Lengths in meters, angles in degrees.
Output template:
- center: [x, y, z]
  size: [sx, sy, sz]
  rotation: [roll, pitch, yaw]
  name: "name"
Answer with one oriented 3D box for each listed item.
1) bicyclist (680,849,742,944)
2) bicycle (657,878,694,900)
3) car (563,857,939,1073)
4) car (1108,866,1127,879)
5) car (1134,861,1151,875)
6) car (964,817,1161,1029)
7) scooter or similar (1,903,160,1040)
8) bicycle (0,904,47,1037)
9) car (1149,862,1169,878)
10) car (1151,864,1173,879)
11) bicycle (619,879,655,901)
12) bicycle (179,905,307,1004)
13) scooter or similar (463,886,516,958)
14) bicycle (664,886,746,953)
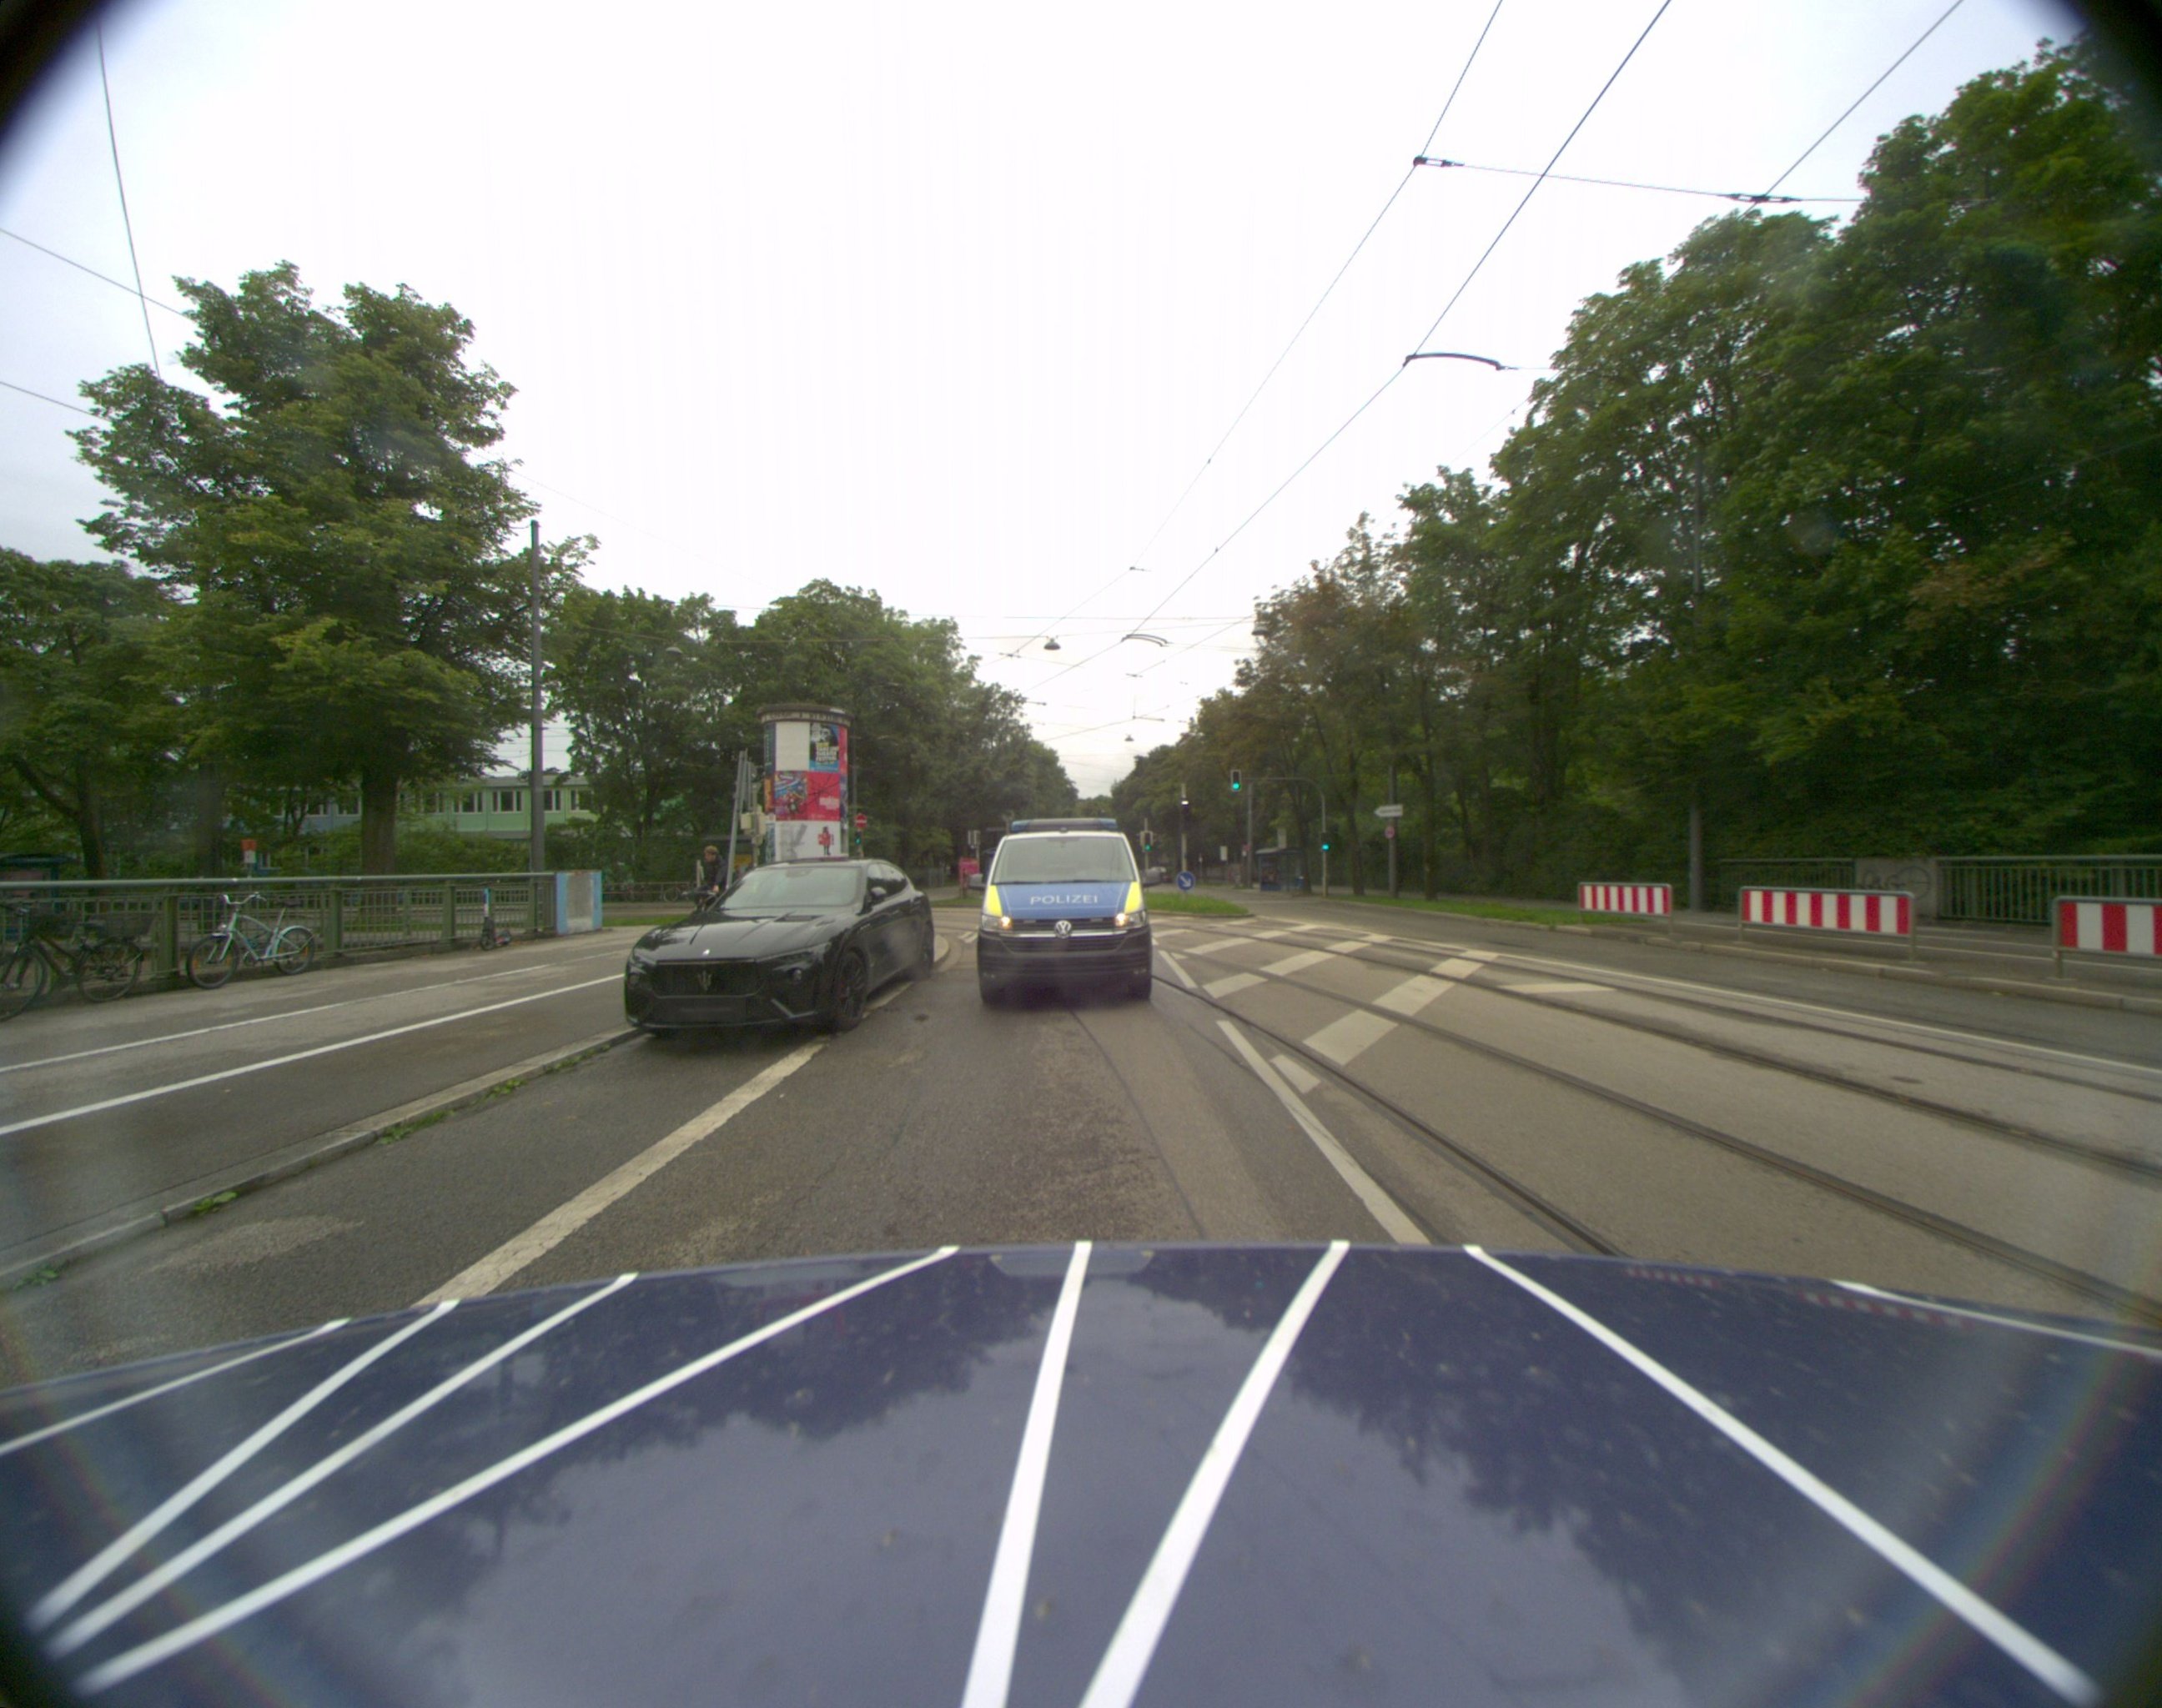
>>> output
- center: [-6.961, 0.782, 14.338]
  size: [0.726, 1.719, 0.726]
  rotation: [-3, 1, 0]
  name: "bicyclist"
- center: [-18.905, 1.629, 35.428]
  size: [1.483, 0.946, 0.373]
  rotation: [-1, 1, 3]
  name: "bicycle"
- center: [-3.011, 0.892, 8.260]
  size: [1.905, 1.600, 4.665]
  rotation: [-3, -1, 1]
  name: "car"
- center: [3.997, 2.023, 83.766]
  size: [1.628, 1.380, 4.839]
  rotation: [1, -1, -3]
  name: "car"
- center: [8.579, 1.928, 105.741]
  size: [1.888, 1.716, 3.999]
  rotation: [-3, 0, -1]
  name: "car"
- center: [-0.227, 0.672, 10.273]
  size: [1.903, 2.041, 5.708]
  rotation: [-1, 0, -1]
  name: "car"
- center: [-10.597, 1.186, 8.107]
  size: [0.245, 1.255, 1.493]
  rotation: [-3, 0, -22]
  name: "scooter or similar"
- center: [-10.602, 1.144, 7.114]
  size: [0.283, 1.274, 1.408]
  rotation: [-3, 0, -19]
  name: "bicycle"
- center: [9.310, 1.899, 91.077]
  size: [1.888, 1.716, 3.999]
  rotation: [-3, 0, -1]
  name: "car"
- center: [9.083, 1.931, 85.400]
  size: [1.888, 1.531, 3.999]
  rotation: [-3, 0, -1]
  name: "car"
- center: [-20.908, 1.691, 35.765]
  size: [1.483, 0.946, 0.373]
  rotation: [-1, 1, 3]
  name: "bicycle"
- center: [-10.751, 1.243, 9.808]
  size: [0.265, 1.076, 1.540]
  rotation: [-3, 0, -14]
  name: "bicycle"
- center: [-10.667, 1.206, 13.720]
  size: [0.225, 1.205, 1.020]
  rotation: [-3, 0, -8]
  name: "scooter or similar"
- center: [-6.943, 1.183, 14.147]
  size: [0.580, 1.072, 1.912]
  rotation: [1, 0, 0]
  name: "bicycle"
